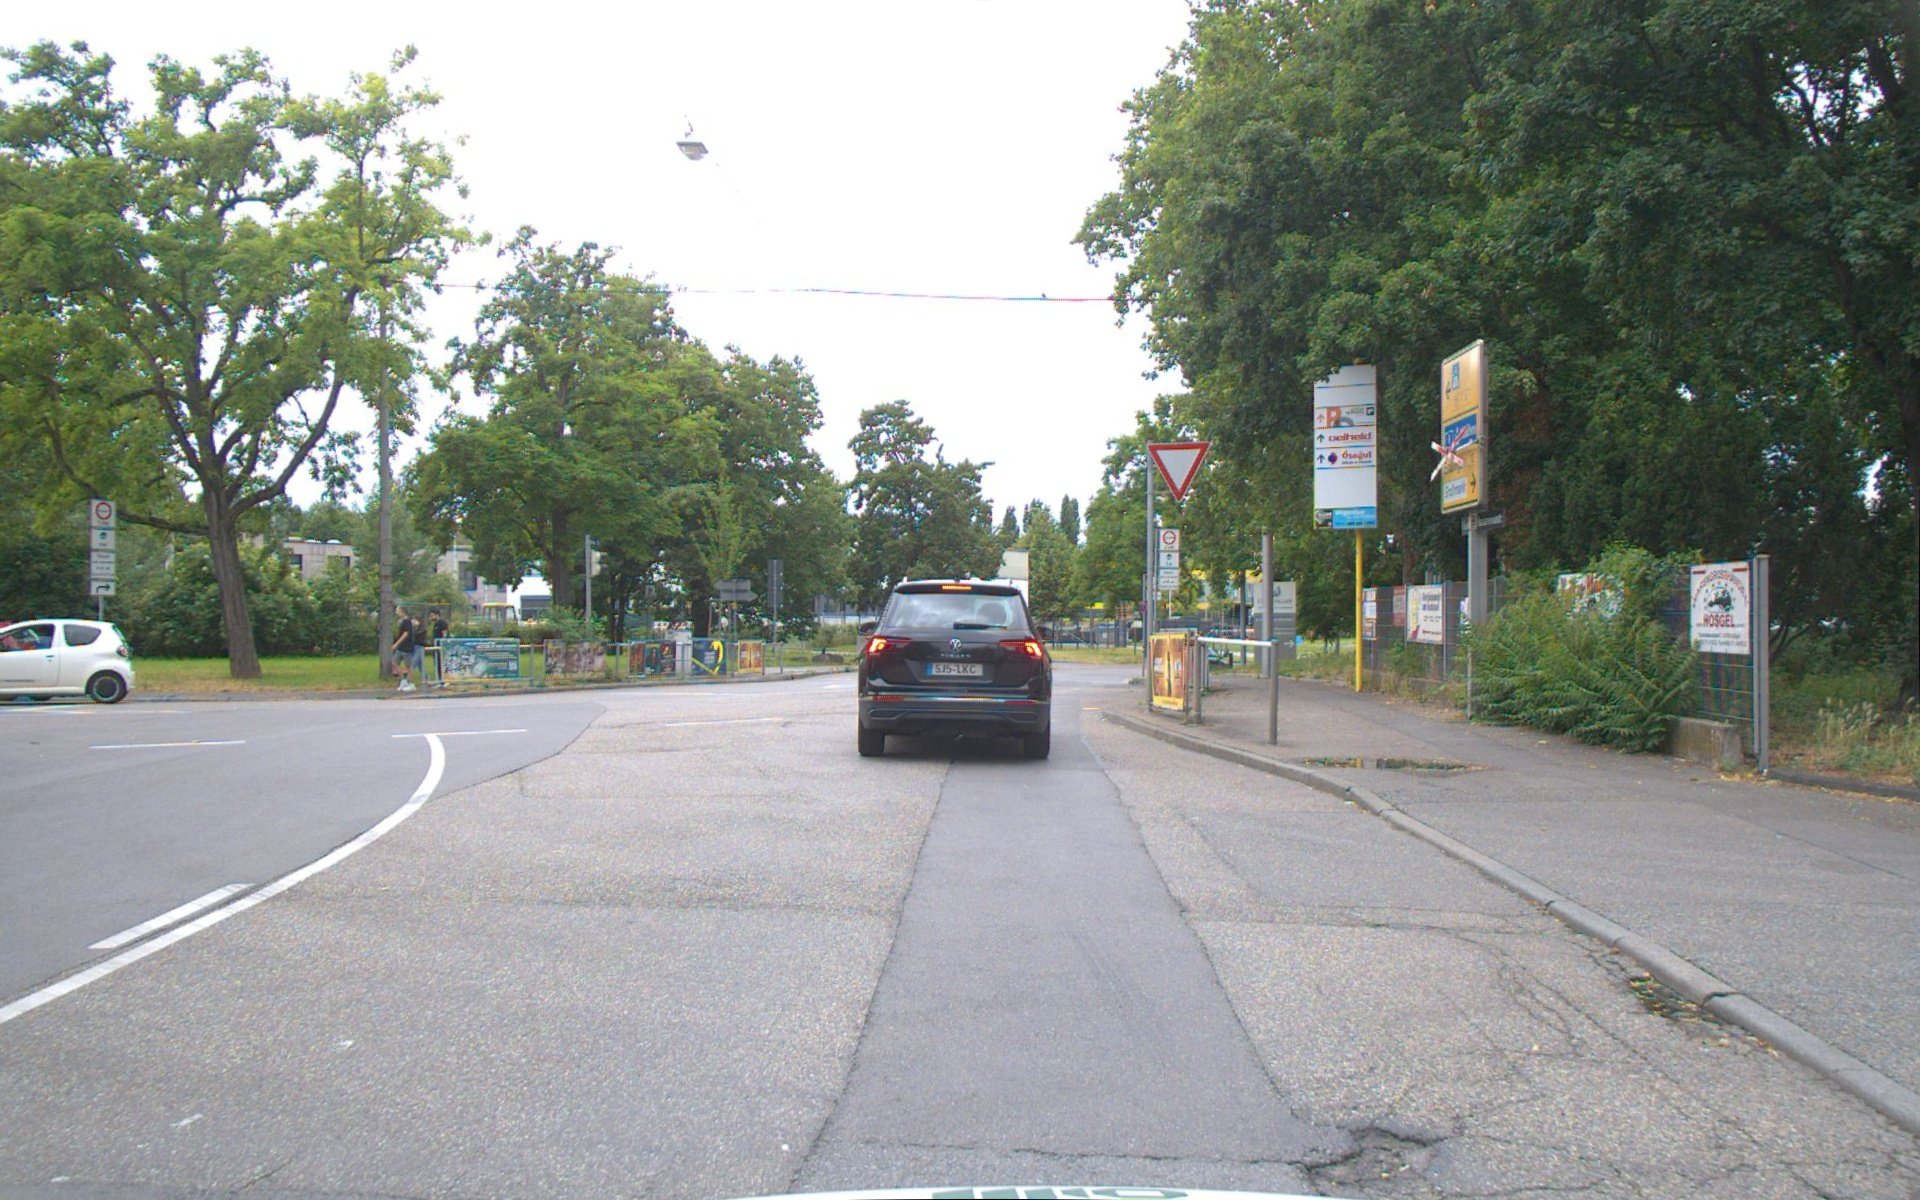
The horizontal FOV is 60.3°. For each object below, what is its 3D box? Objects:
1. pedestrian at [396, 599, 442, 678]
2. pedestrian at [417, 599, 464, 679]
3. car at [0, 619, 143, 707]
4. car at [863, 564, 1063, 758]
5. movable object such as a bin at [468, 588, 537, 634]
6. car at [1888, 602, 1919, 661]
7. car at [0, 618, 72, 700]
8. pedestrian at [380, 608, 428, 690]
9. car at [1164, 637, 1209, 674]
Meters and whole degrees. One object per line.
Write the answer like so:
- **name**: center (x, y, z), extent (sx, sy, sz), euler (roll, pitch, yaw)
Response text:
- **pedestrian**: center (-12.291, 0.870, 37.572), extent (0.731, 1.772, 0.723), euler (-1, 0, 43)
- **pedestrian**: center (-11.660, 0.873, 37.123), extent (0.731, 1.772, 0.723), euler (-1, 0, 43)
- **car**: center (-16.124, 1.070, 28.576), extent (3.560, 1.434, 1.727), euler (0, 0, -26)
- **car**: center (-0.022, 0.543, 16.151), extent (1.704, 1.646, 3.640), euler (1, -1, -2)
- **movable object such as a bin**: center (-20.738, 0.498, 74.995), extent (1.953, 2.049, 2.398), euler (-1, 0, 23)
- **car**: center (29.332, 0.896, 47.903), extent (3.862, 1.675, 1.831), euler (0, 0, 8)
- **car**: center (-18.982, 1.126, 31.422), extent (3.328, 1.504, 1.639), euler (-1, 0, -7)
- **pedestrian**: center (-12.198, 1.058, 36.284), extent (0.731, 1.772, 0.723), euler (-1, 0, 43)
- **car**: center (10.497, 2.532, 76.445), extent (1.623, 1.602, 3.831), euler (-1, -1, 14)
